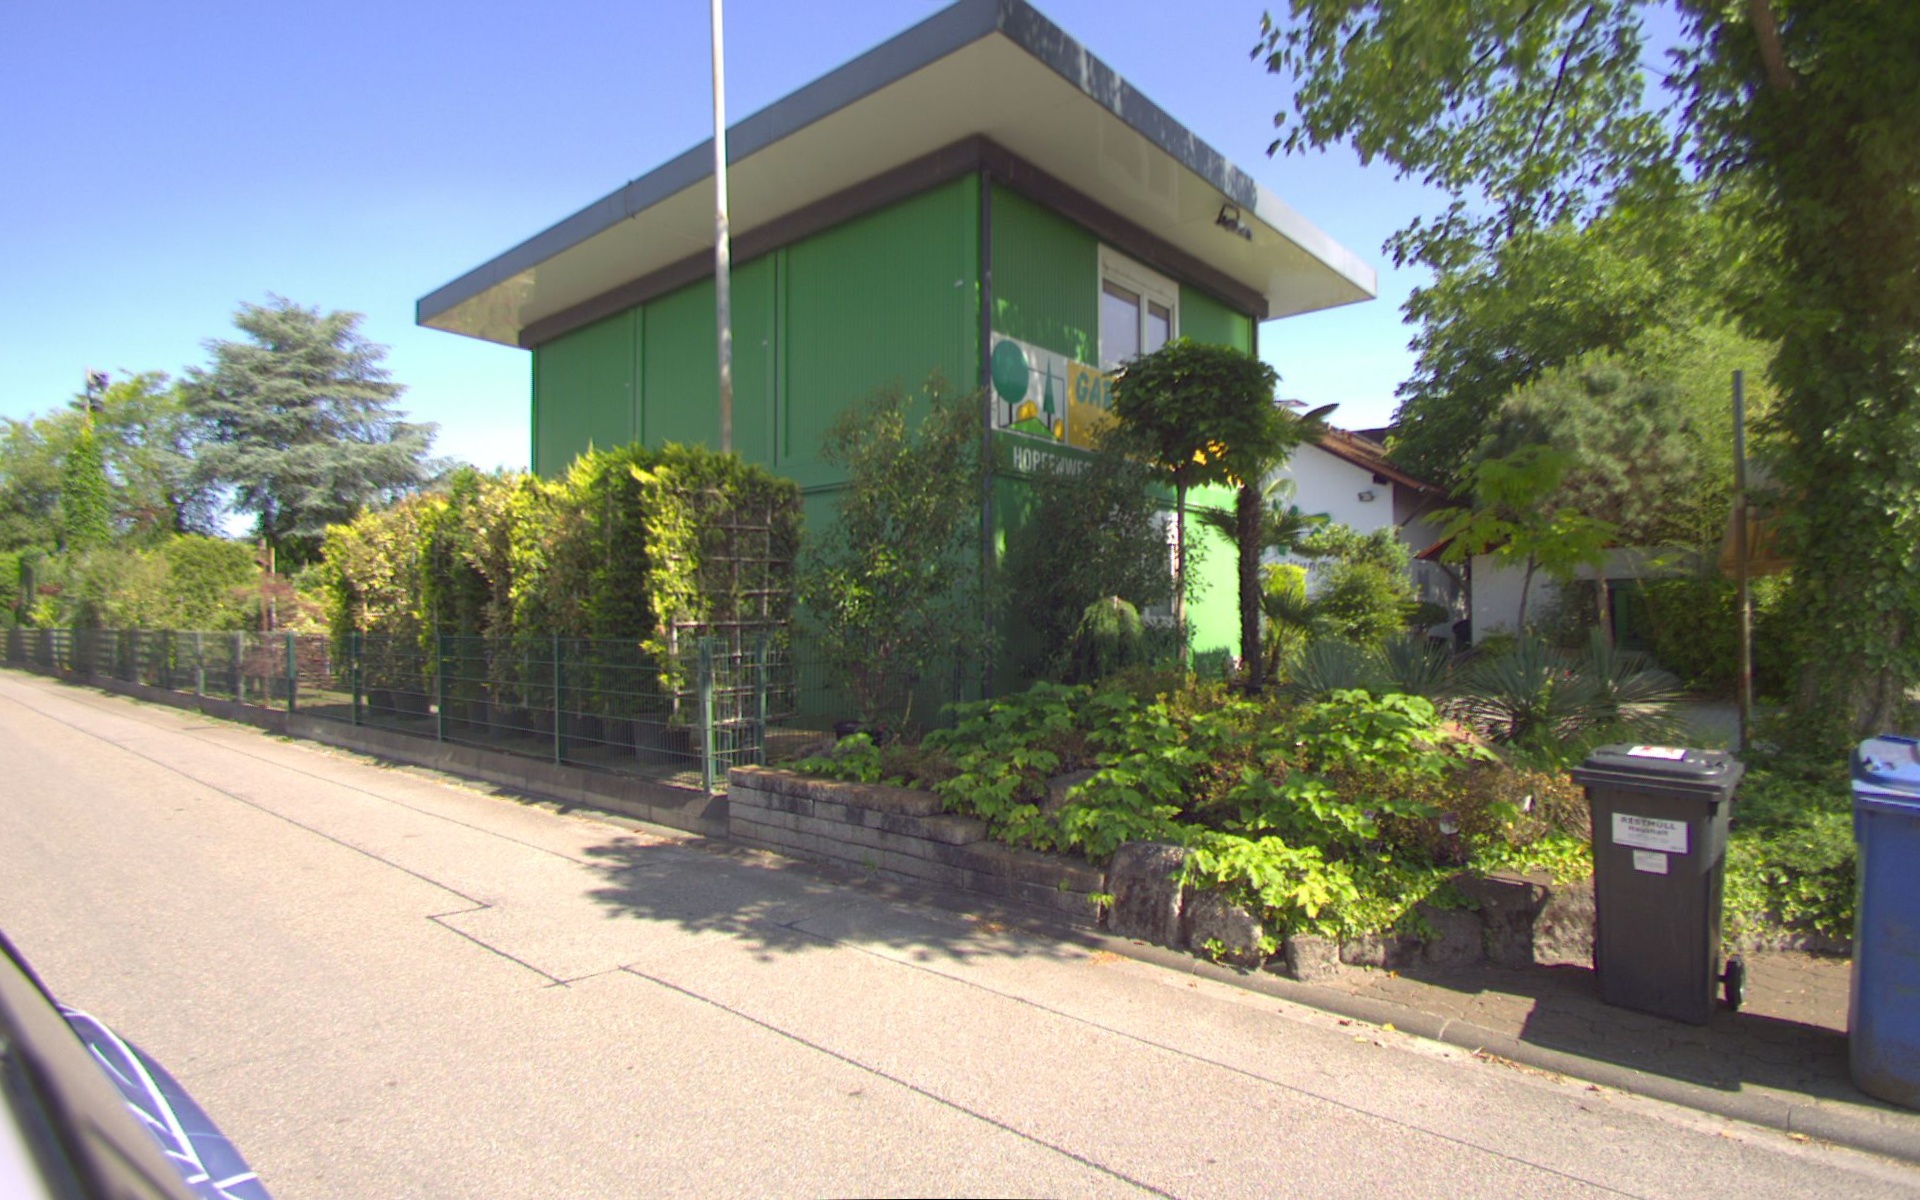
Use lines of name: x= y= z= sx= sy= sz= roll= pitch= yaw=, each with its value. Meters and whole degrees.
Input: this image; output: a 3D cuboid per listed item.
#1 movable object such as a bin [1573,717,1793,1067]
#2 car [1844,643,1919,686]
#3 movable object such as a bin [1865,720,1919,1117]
movable object such as a bin: x=2.608 y=0.982 z=3.646 sx=0.568 sy=1.032 sz=0.576 roll=-2 pitch=-1 yaw=42
car: x=33.690 y=2.313 z=36.861 sx=3.940 sy=1.453 sz=1.904 roll=2 pitch=-3 yaw=-44
movable object such as a bin: x=3.141 y=0.944 z=3.030 sx=0.612 sy=1.062 sz=0.723 roll=-2 pitch=-1 yaw=42
